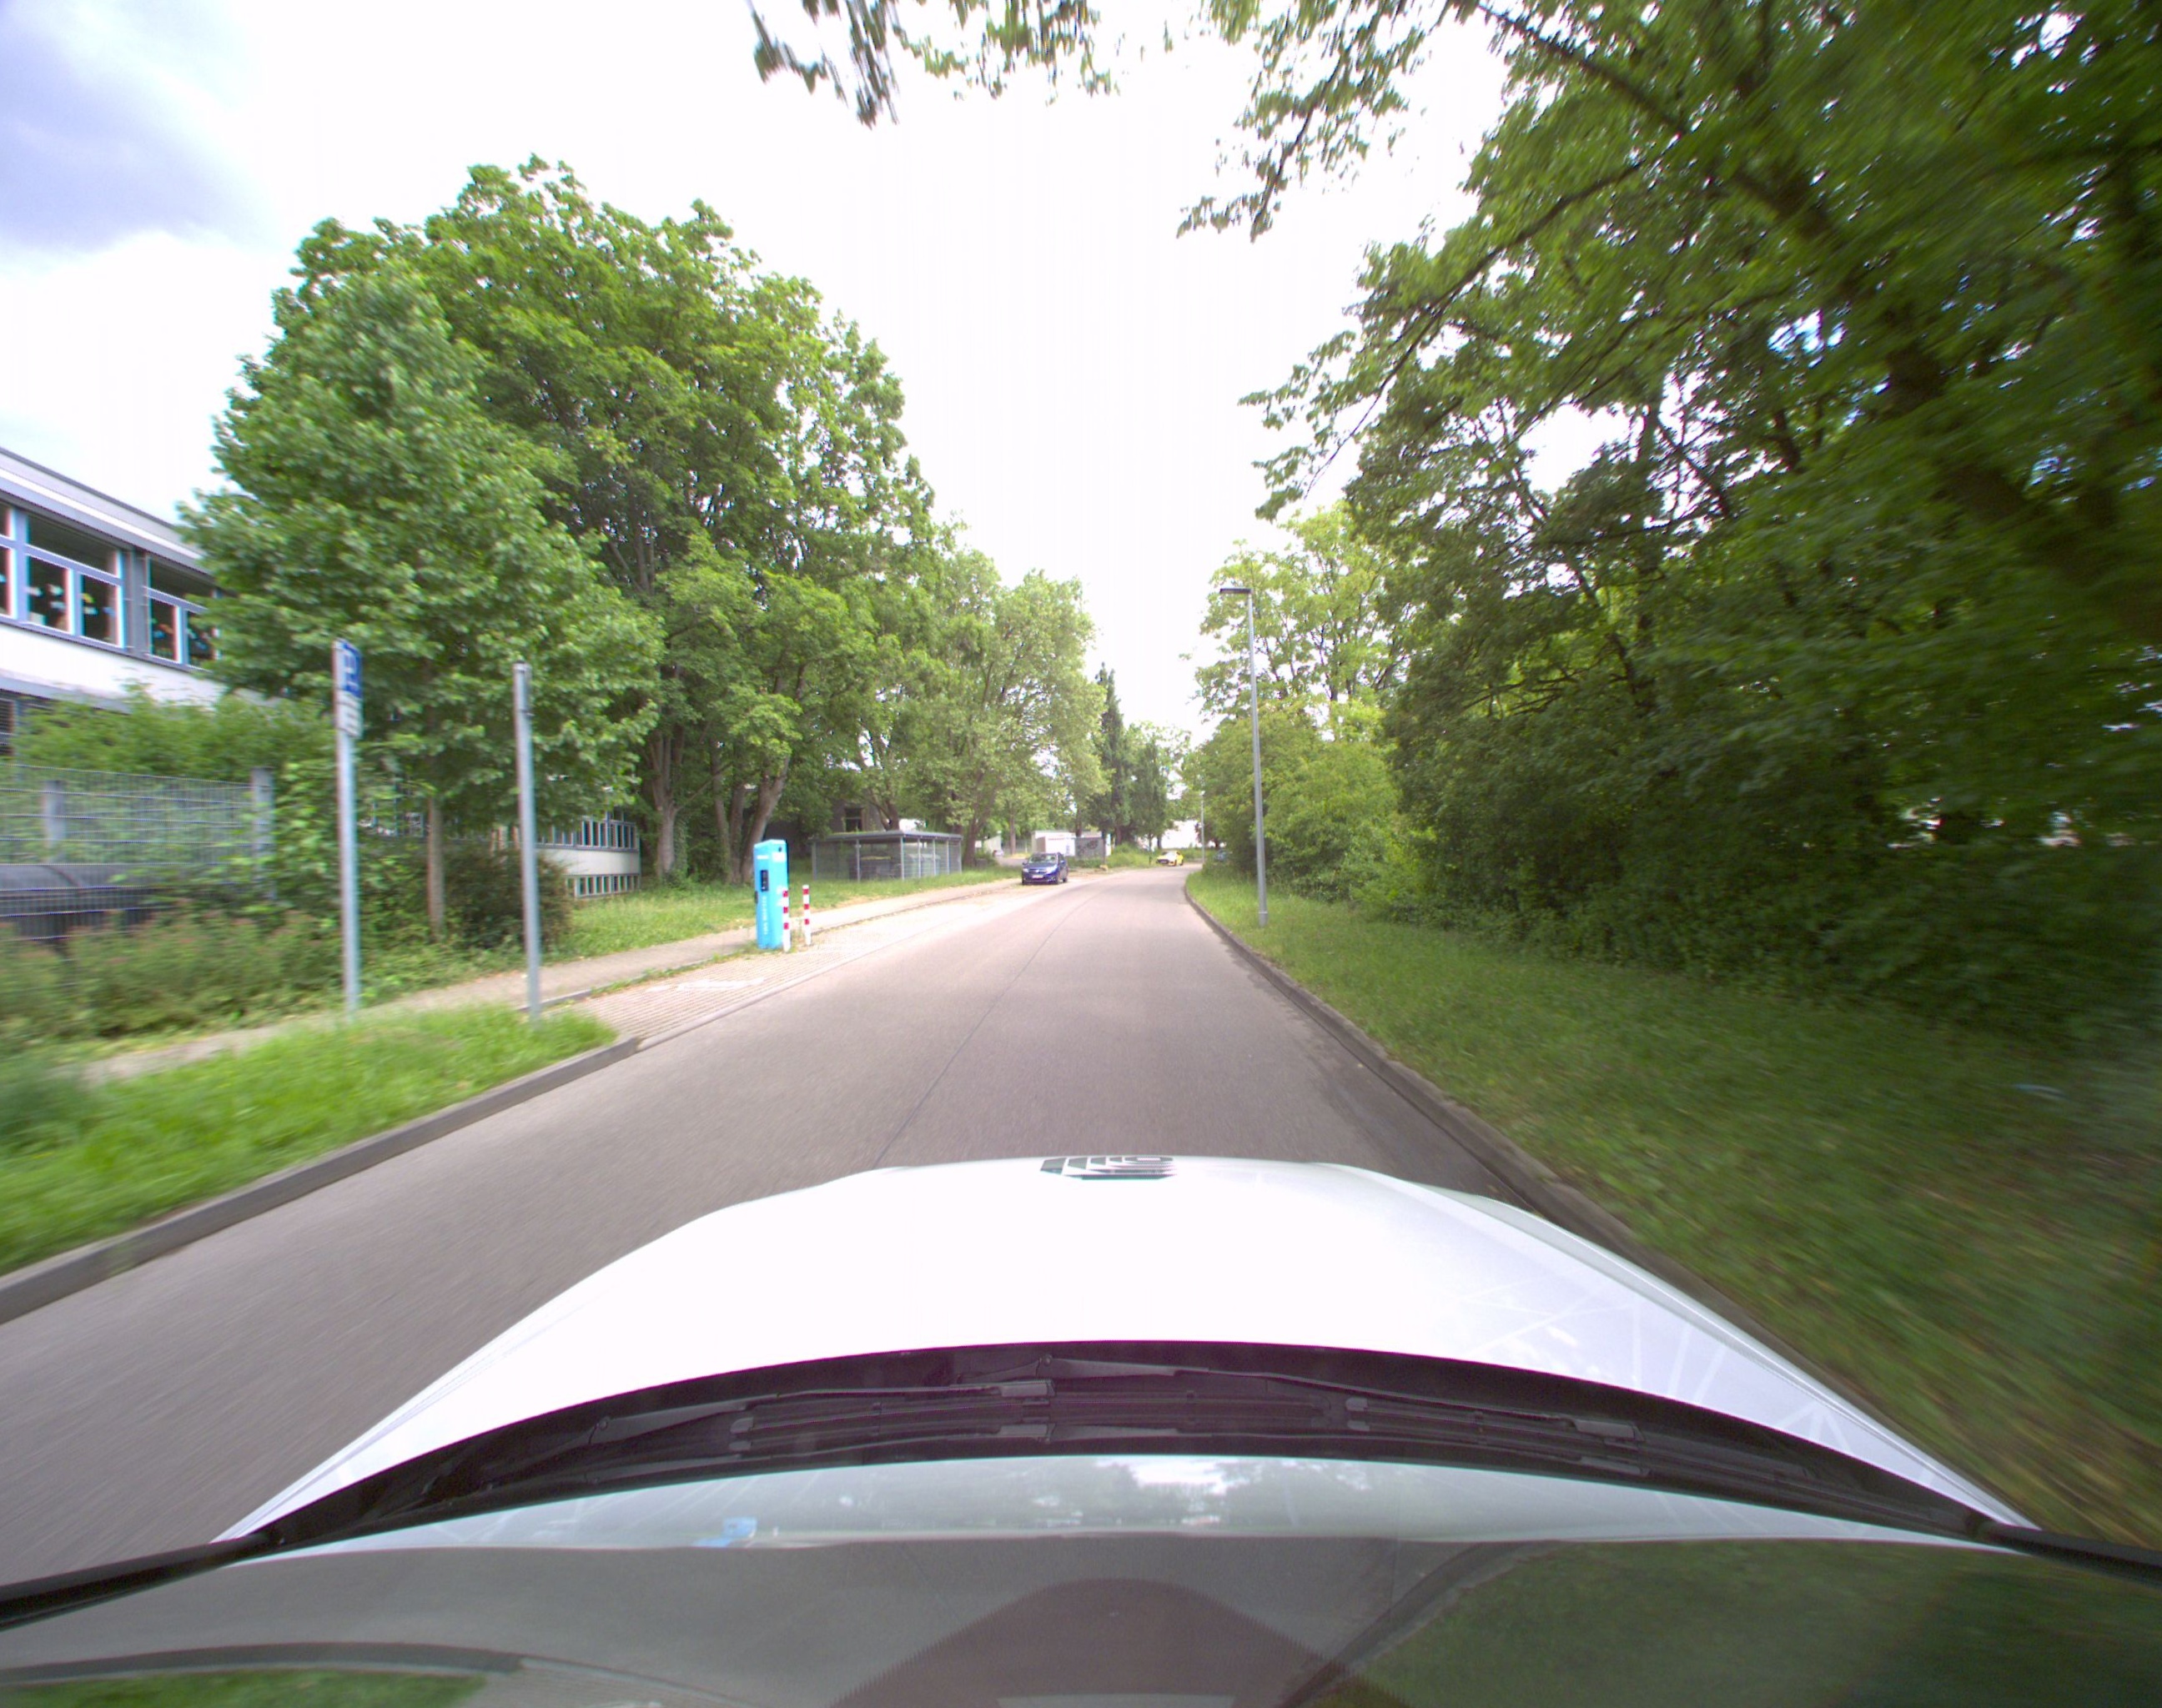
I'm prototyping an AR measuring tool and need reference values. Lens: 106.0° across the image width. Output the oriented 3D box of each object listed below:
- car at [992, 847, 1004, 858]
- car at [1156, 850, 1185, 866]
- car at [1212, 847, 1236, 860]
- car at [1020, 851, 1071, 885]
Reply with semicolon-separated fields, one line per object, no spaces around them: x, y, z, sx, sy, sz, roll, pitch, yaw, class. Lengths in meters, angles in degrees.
-13.845;-0.285;136.016;1.869;1.746;3.994;-2;0;-4;car
8.421;0.386;76.027;1.686;1.403;4.295;-1;0;20;car
16.236;-0.064;92.383;1.519;1.459;3.743;-1;0;28;car
-1.627;0.636;38.943;1.671;1.511;4.440;-1;0;7;car
